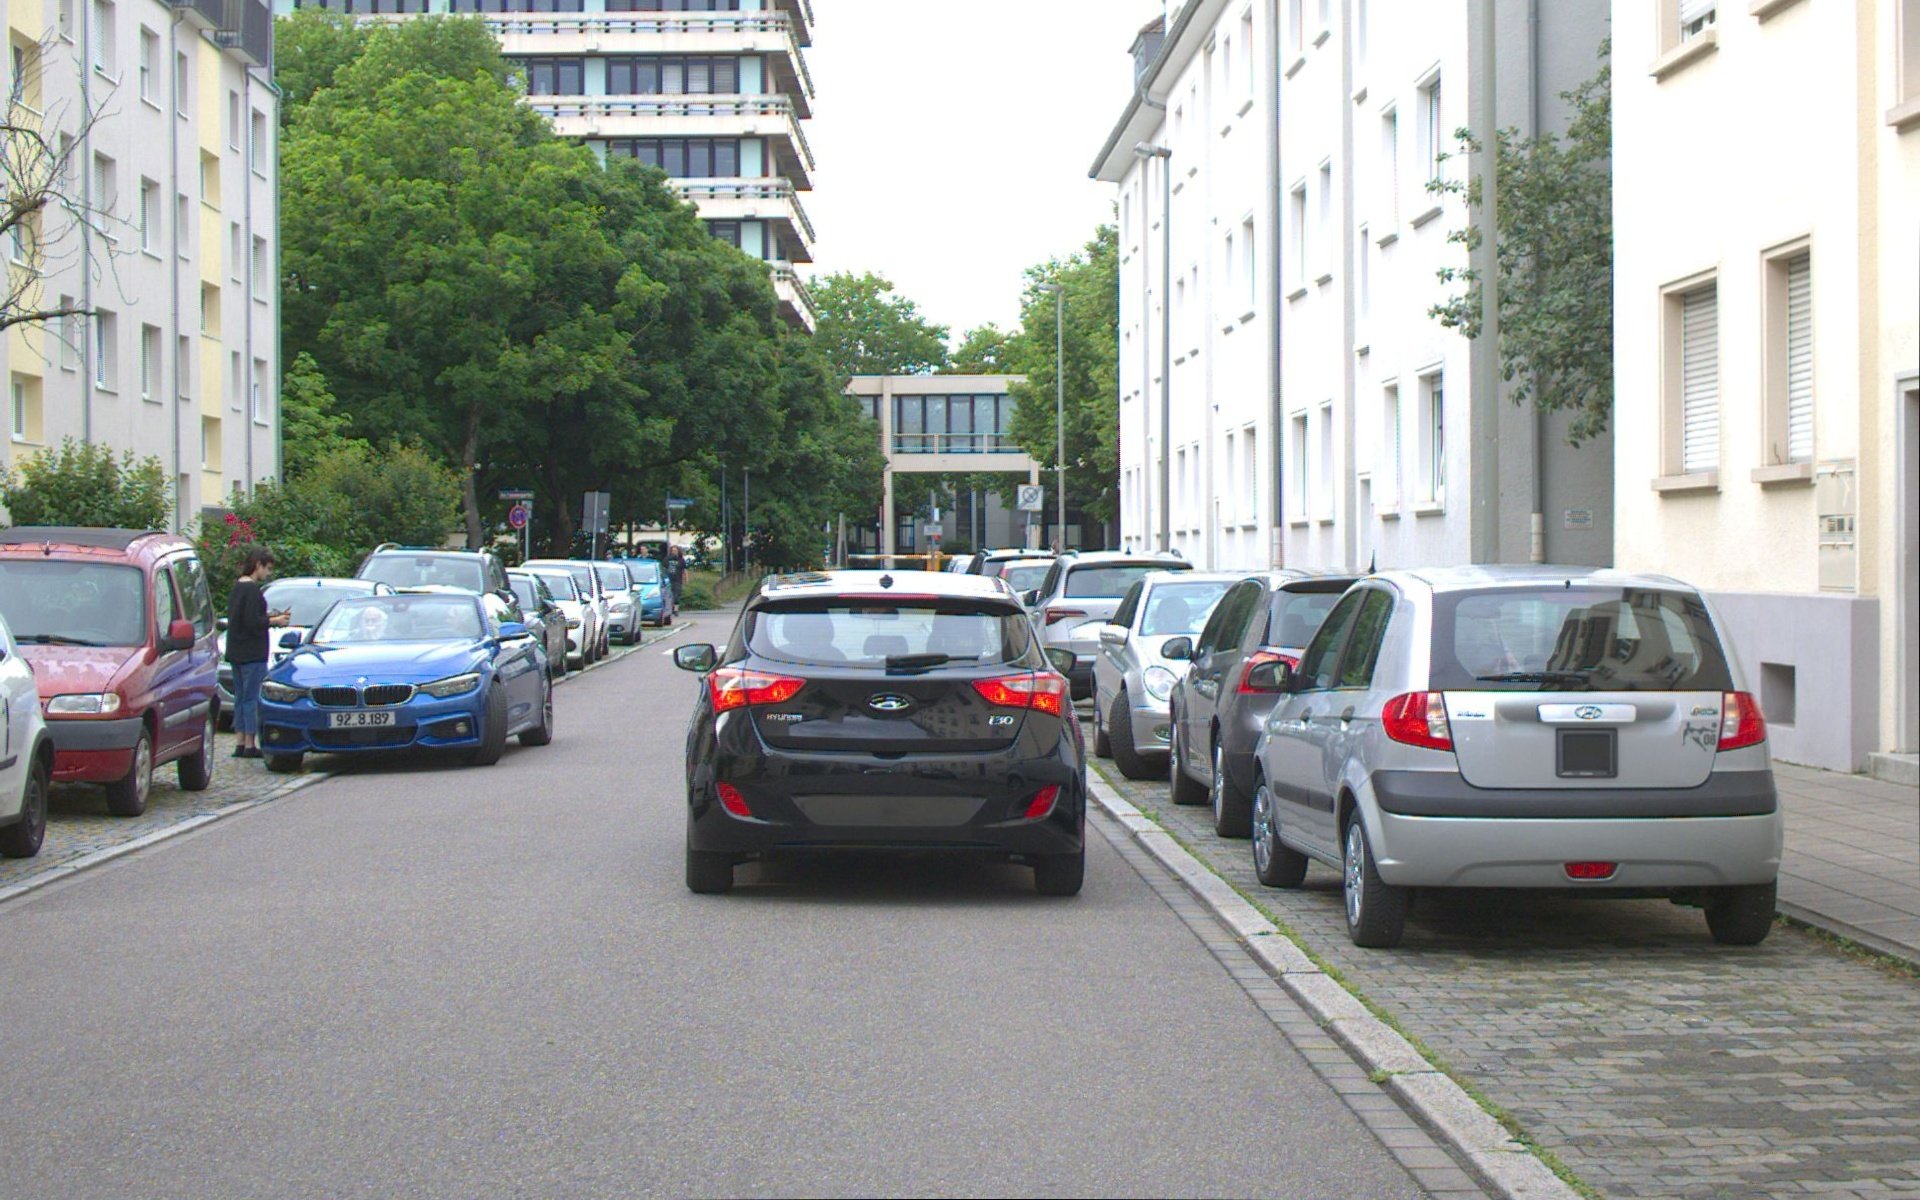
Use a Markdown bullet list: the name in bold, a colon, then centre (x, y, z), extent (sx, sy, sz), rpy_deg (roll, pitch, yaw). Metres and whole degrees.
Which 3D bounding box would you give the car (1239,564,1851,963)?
- **car**: centre (2.322, 0.587, 14.642), extent (1.848, 1.445, 3.833), rpy_deg (0, 1, -1)

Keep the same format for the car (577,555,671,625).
- **car**: centre (-7.582, -0.247, 77.917), extent (1.993, 1.536, 4.001), rpy_deg (0, 1, -4)

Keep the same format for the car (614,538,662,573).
- **car**: centre (-12.736, -1.773, 136.036), extent (1.665, 1.328, 3.396), rpy_deg (0, 1, -2)

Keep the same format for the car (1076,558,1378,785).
- **car**: centre (1.832, 0.446, 24.852), extent (1.725, 1.471, 4.505), rpy_deg (0, 1, -1)

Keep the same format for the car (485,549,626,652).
- **car**: centre (-6.696, -0.027, 57.302), extent (1.895, 1.593, 4.521), rpy_deg (2, 1, -2)

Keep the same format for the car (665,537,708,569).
- **car**: centre (-11.882, -2.049, 149.490), extent (1.665, 1.328, 3.396), rpy_deg (0, 1, -2)

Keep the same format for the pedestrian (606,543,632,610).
- **pedestrian**: centre (-8.752, -0.618, 88.171), extent (0.600, 1.707, 0.648), rpy_deg (0, 1, 0)

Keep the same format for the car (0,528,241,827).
- **car**: centre (-5.997, 0.420, 22.461), extent (1.956, 1.764, 4.362), rpy_deg (0, 1, -4)

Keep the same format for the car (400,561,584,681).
- **car**: centre (-6.176, 0.243, 45.822), extent (1.895, 1.447, 4.667), rpy_deg (2, 1, -2)

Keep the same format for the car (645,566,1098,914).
- **car**: centre (-0.410, 0.574, 16.705), extent (1.903, 1.428, 4.233), rpy_deg (-1, 1, -1)

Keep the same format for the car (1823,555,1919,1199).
- **car**: centre (2.593, 0.709, 4.483), extent (1.725, 1.512, 4.061), rpy_deg (0, 1, -3)

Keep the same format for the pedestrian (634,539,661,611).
- **pedestrian**: centre (-8.022, -0.646, 88.272), extent (0.605, 1.825, 0.675), rpy_deg (0, 1, 0)

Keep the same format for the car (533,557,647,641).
- **car**: centre (-7.031, -0.039, 65.607), extent (1.993, 1.536, 4.001), rpy_deg (0, 1, -4)

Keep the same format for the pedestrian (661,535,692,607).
- **pedestrian**: centre (-7.260, -0.752, 88.043), extent (0.714, 1.825, 0.797), rpy_deg (0, 1, 0)

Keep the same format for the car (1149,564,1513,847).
- **car**: centre (2.075, 0.543, 20.173), extent (1.602, 1.471, 3.869), rpy_deg (0, 1, -1)

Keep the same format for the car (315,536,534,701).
- **car**: centre (-6.111, 0.170, 39.668), extent (1.895, 1.734, 4.475), rpy_deg (2, 1, -2)

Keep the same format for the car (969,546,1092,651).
- **car**: centre (1.094, -0.055, 55.020), extent (1.820, 1.597, 4.091), rpy_deg (-1, 1, -1)

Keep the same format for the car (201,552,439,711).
- **car**: centre (-6.285, 0.269, 34.118), extent (1.744, 1.460, 3.786), rpy_deg (-1, 1, -2)

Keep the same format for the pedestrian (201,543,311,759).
- **pedestrian**: centre (-5.690, 0.400, 27.771), extent (0.740, 1.696, 0.796), rpy_deg (-1, 1, -19)

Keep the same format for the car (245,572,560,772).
- **car**: centre (-4.393, 0.514, 27.744), extent (1.845, 1.446, 4.501), rpy_deg (0, 1, 0)

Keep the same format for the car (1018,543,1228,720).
- **car**: centre (1.543, 0.260, 33.884), extent (1.820, 1.636, 4.091), rpy_deg (0, 1, -1)

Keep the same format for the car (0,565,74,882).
- **car**: centre (-5.611, 0.607, 16.633), extent (1.720, 1.564, 3.871), rpy_deg (1, 1, -2)

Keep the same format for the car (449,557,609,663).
- **car**: centre (-6.371, 0.117, 51.185), extent (1.895, 1.447, 4.521), rpy_deg (2, 1, -2)

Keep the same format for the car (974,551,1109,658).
- **car**: centre (1.147, 0.034, 50.257), extent (1.820, 1.498, 4.091), rpy_deg (0, 1, -1)
